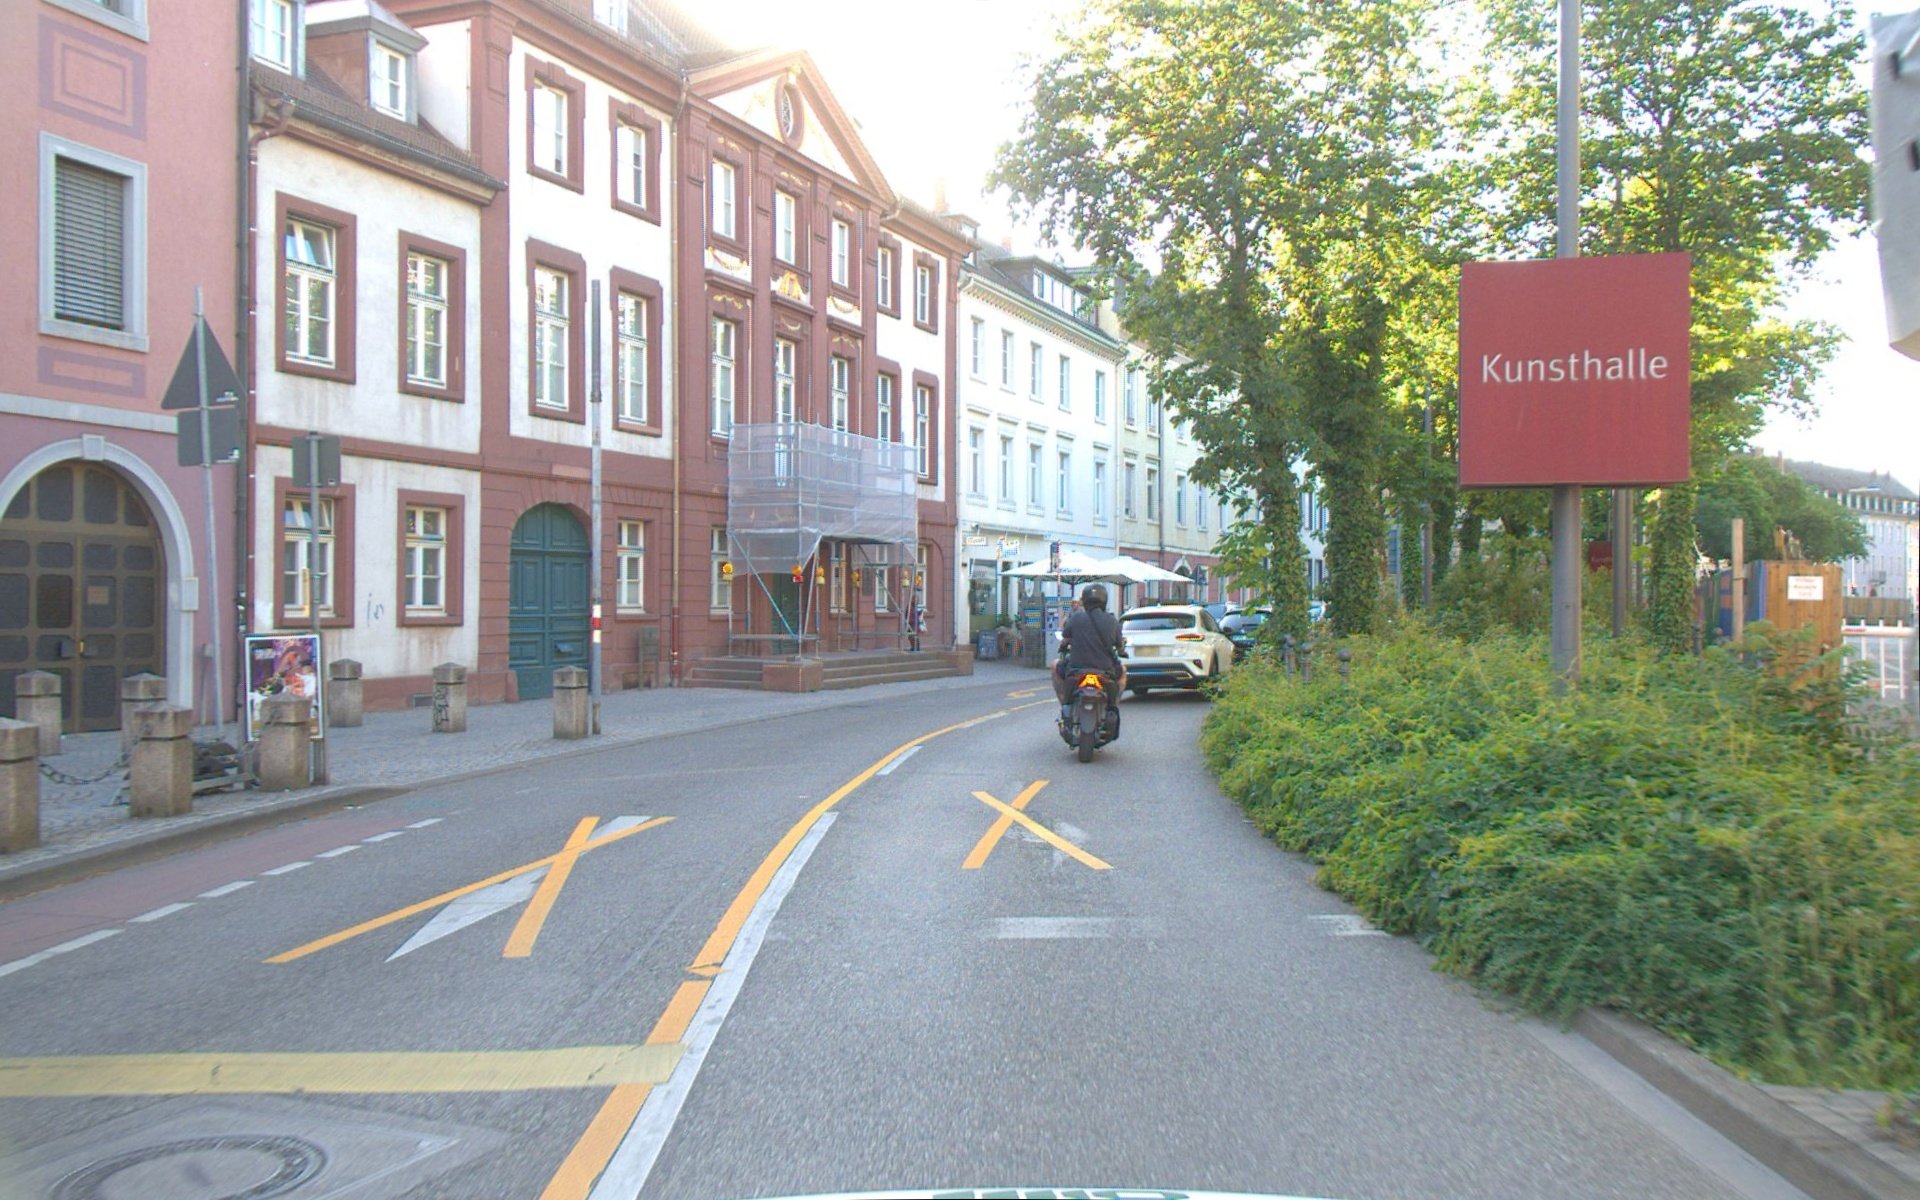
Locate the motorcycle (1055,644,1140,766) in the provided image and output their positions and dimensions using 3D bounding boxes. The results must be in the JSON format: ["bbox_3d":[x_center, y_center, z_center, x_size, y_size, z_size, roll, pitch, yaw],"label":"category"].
[{"bbox_3d":[1.344,1.010,16.399,0.780,1.085,1.726,1,0,3],"label":"motorcycle"}]

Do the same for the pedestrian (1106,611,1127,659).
[{"bbox_3d":[4.641,1.042,49.008,0.512,1.415,0.488,0,0,20],"label":"pedestrian"}]

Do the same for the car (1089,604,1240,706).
[{"bbox_3d":[3.430,0.833,27.083,1.811,1.506,4.060,1,0,16],"label":"car"}]

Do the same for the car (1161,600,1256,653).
[{"bbox_3d":[8.381,0.857,55.513,1.884,1.709,4.782,-1,-1,25],"label":"car"}]

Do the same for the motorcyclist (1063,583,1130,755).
[{"bbox_3d":[1.367,0.678,16.577,0.643,1.679,0.651,0,0,4],"label":"motorcyclist"}]

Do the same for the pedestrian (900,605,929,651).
[{"bbox_3d":[-1.079,0.661,39.294,0.525,1.071,0.552,1,0,19],"label":"pedestrian"}]

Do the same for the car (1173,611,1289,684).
[{"bbox_3d":[6.194,1.025,37.441,1.802,1.489,4.058,1,0,21],"label":"car"}]

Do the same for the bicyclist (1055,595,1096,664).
[{"bbox_3d":[2.719,0.686,38.898,0.729,1.611,0.794,1,0,24],"label":"bicyclist"}]

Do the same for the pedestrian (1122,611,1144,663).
[{"bbox_3d":[4.968,1.055,47.472,0.461,1.458,0.501,0,0,28],"label":"pedestrian"}]

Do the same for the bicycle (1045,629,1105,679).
[{"bbox_3d":[2.720,1.255,38.908,0.756,1.081,2.077,0,0,24],"label":"bicycle"}]

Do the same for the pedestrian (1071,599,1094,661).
[{"bbox_3d":[3.604,0.885,48.634,0.430,1.806,0.595,-1,-1,36],"label":"pedestrian"}]

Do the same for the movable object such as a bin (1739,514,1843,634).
[{"bbox_3d":[34.618,-1.007,68.732,3.246,4.619,7.888,-1,-1,31],"label":"movable object such as a bin"}]
